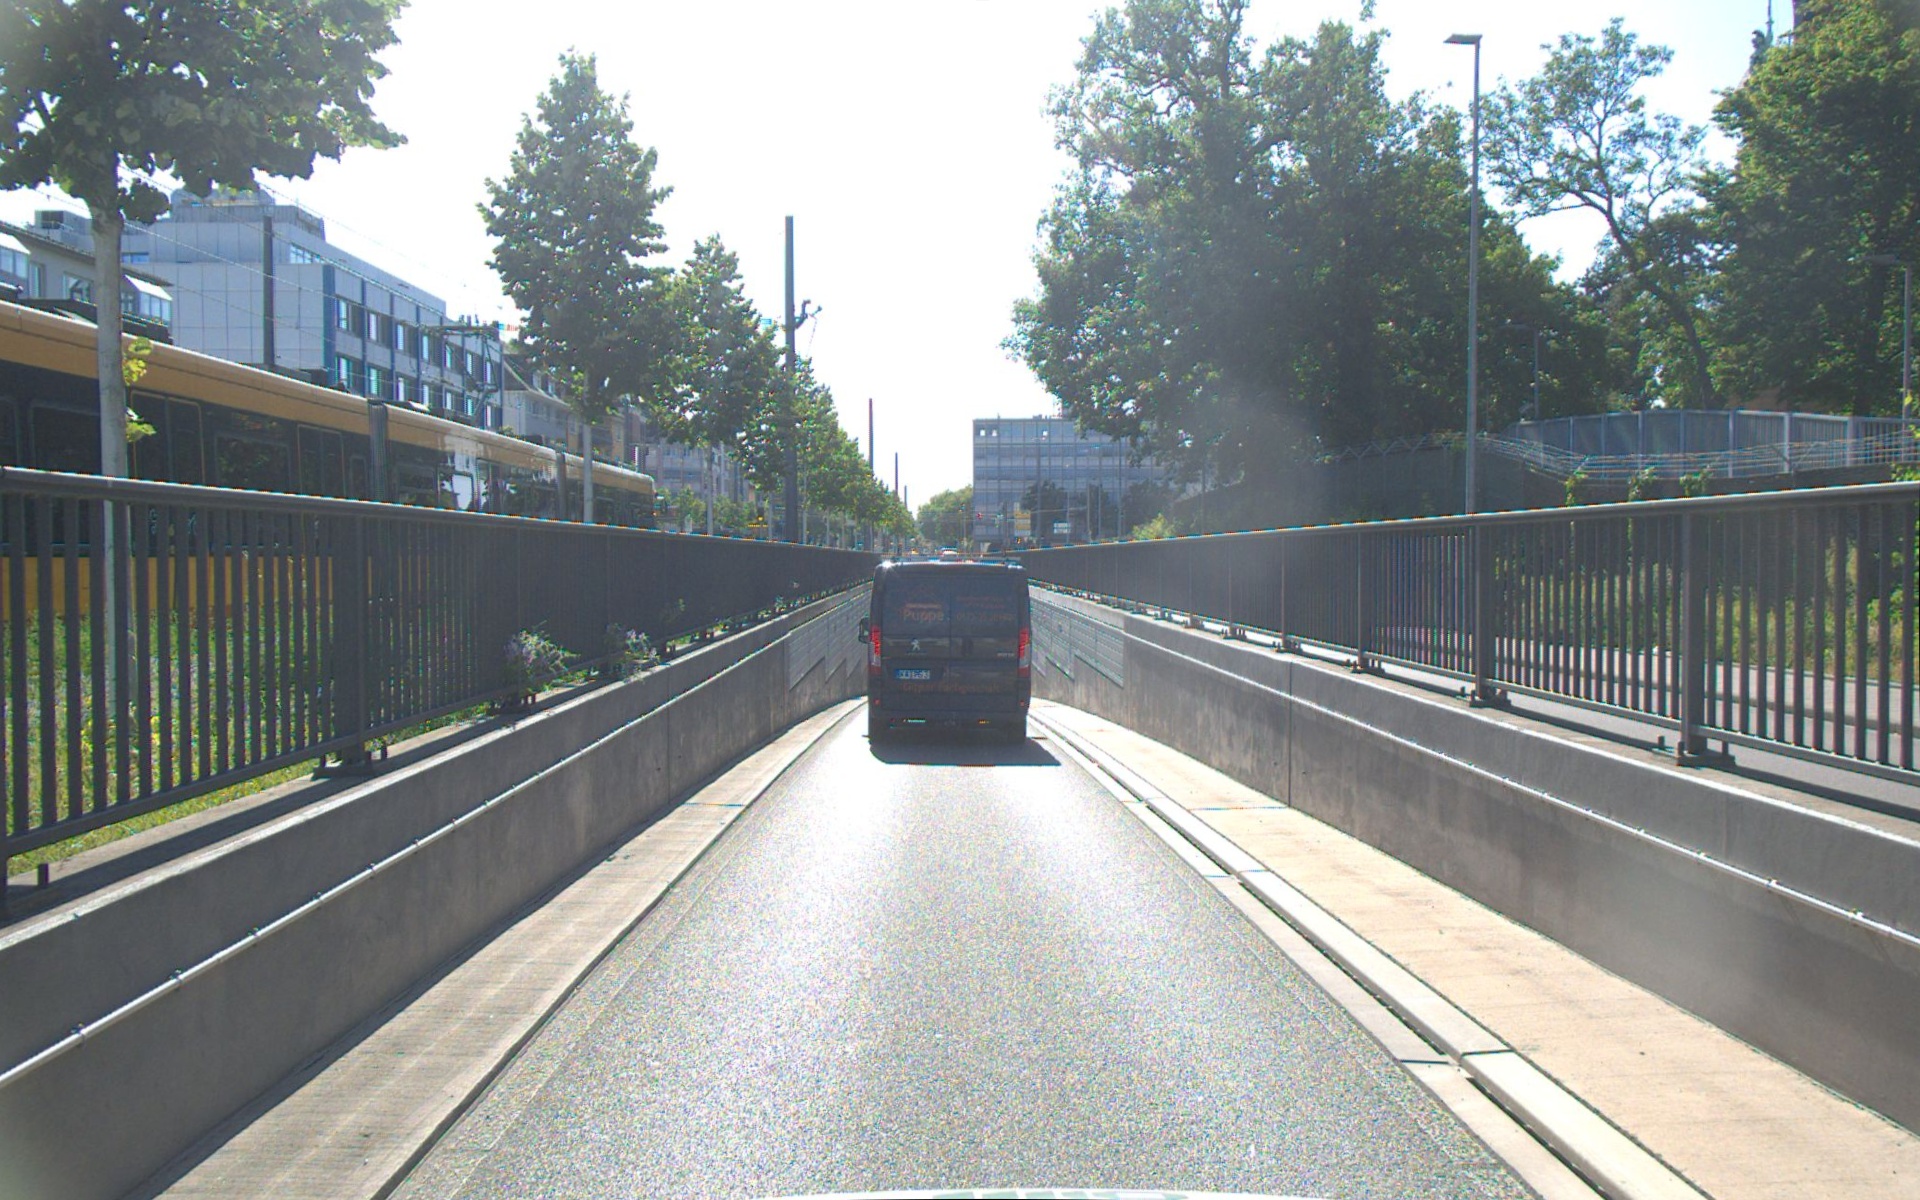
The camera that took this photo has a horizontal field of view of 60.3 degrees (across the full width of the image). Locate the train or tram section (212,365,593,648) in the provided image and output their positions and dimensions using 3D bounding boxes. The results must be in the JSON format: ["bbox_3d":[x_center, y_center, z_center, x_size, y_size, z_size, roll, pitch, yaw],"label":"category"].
[{"bbox_3d":[-9.231,-1.398,29.650,2.558,3.887,13.089,1,1,-1],"label":"train or tram section"}]

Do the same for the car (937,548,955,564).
[{"bbox_3d":[-1.478,-4.606,173.531,1.705,1.589,3.999,0,1,-2],"label":"car"}]

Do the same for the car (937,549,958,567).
[{"bbox_3d":[-1.087,-3.670,145.251,1.705,1.589,3.999,0,1,-2],"label":"car"}]

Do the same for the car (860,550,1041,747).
[{"bbox_3d":[-0.124,0.620,21.974,2.114,2.306,4.635,1,-1,0],"label":"car"}]

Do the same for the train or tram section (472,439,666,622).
[{"bbox_3d":[-9.433,-1.595,41.181,2.559,3.921,9.969,1,1,-1],"label":"train or tram section"}]

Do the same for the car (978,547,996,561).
[{"bbox_3d":[2.893,-4.878,176.434,1.705,1.446,3.999,0,1,-2],"label":"car"}]

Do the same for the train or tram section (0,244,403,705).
[{"bbox_3d":[-9.068,-1.082,16.496,2.557,3.719,13.341,1,1,-1],"label":"train or tram section"}]
